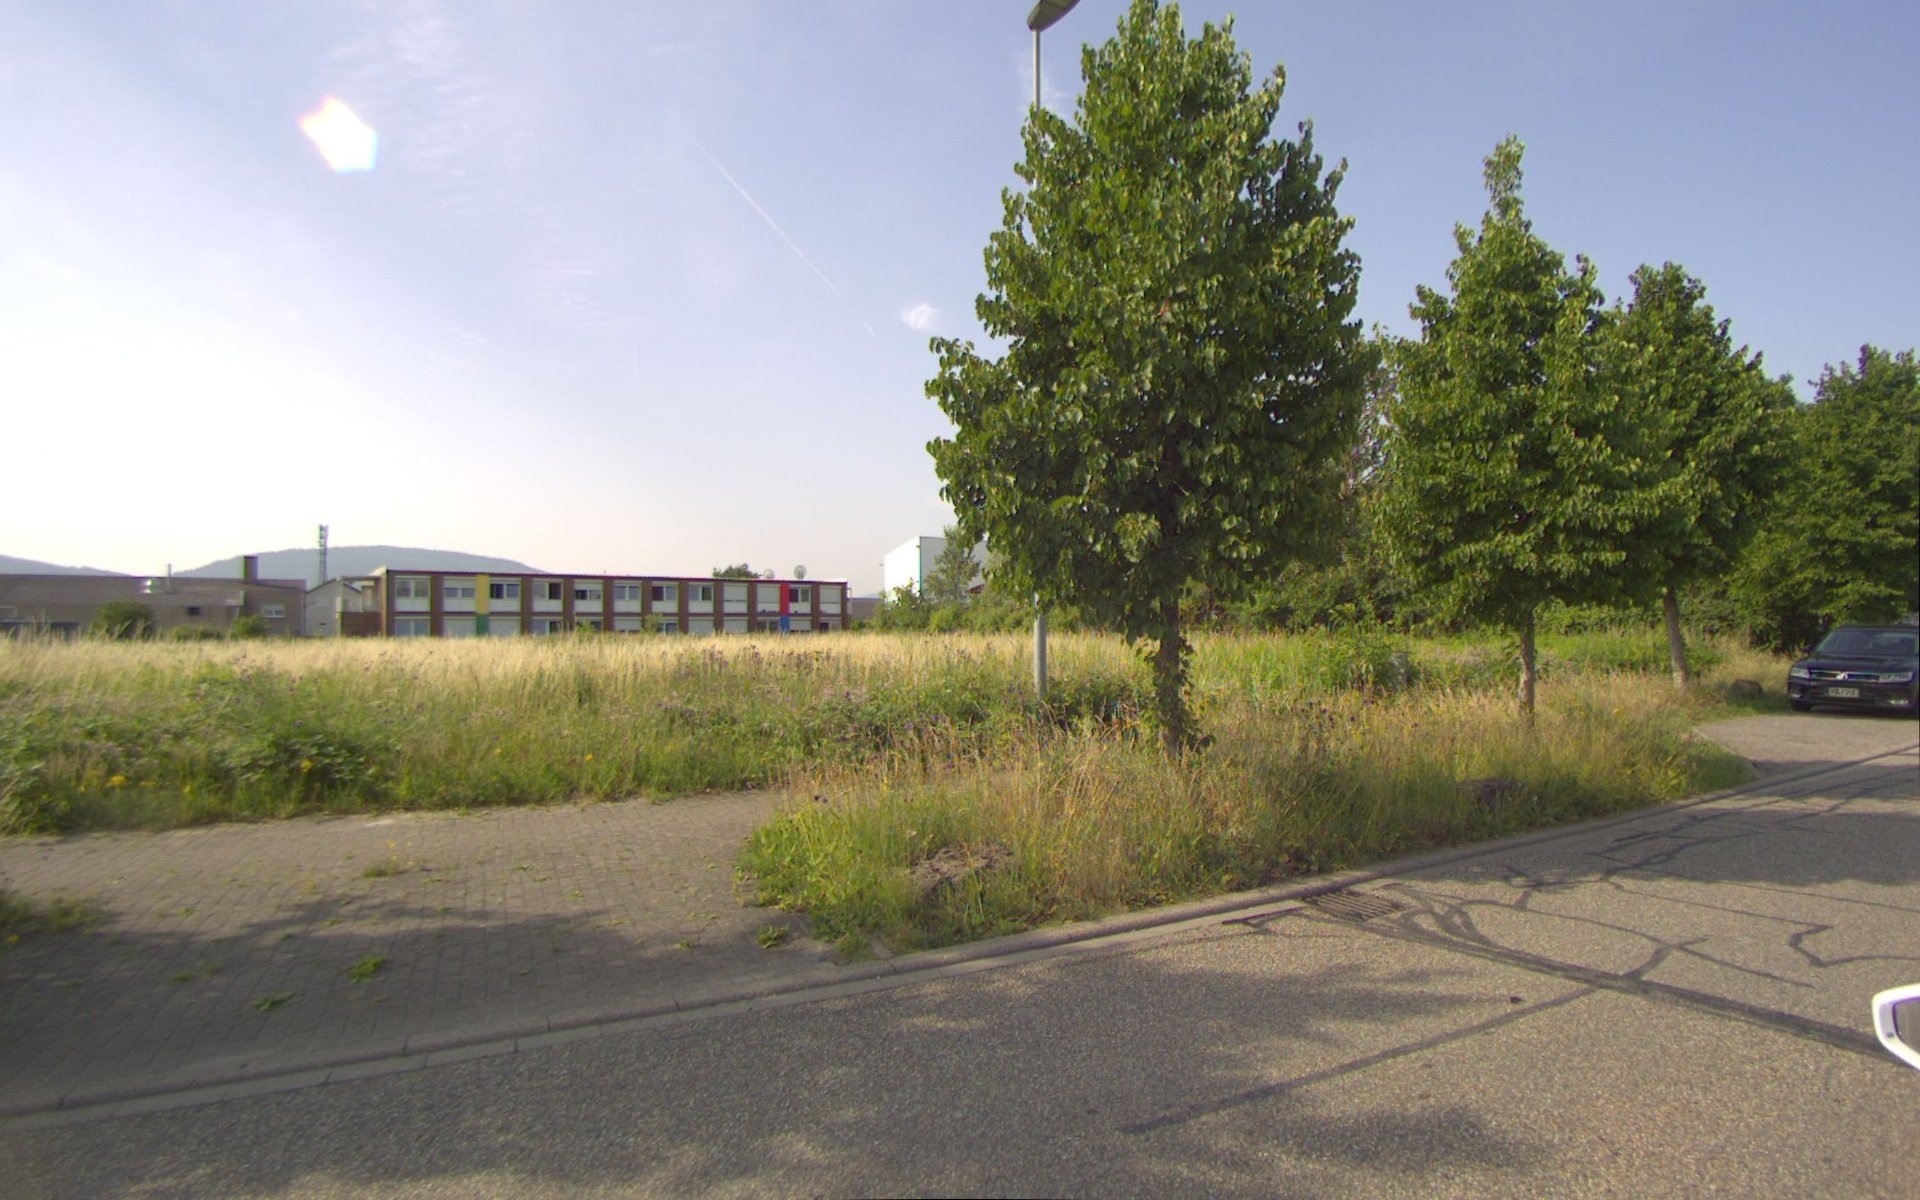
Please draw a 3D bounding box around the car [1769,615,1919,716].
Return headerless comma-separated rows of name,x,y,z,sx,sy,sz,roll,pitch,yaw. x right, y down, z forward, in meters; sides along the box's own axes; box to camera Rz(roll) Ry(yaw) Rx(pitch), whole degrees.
car,17.168,1.131,18.888,4.404,1.647,1.890,0,0,-35
